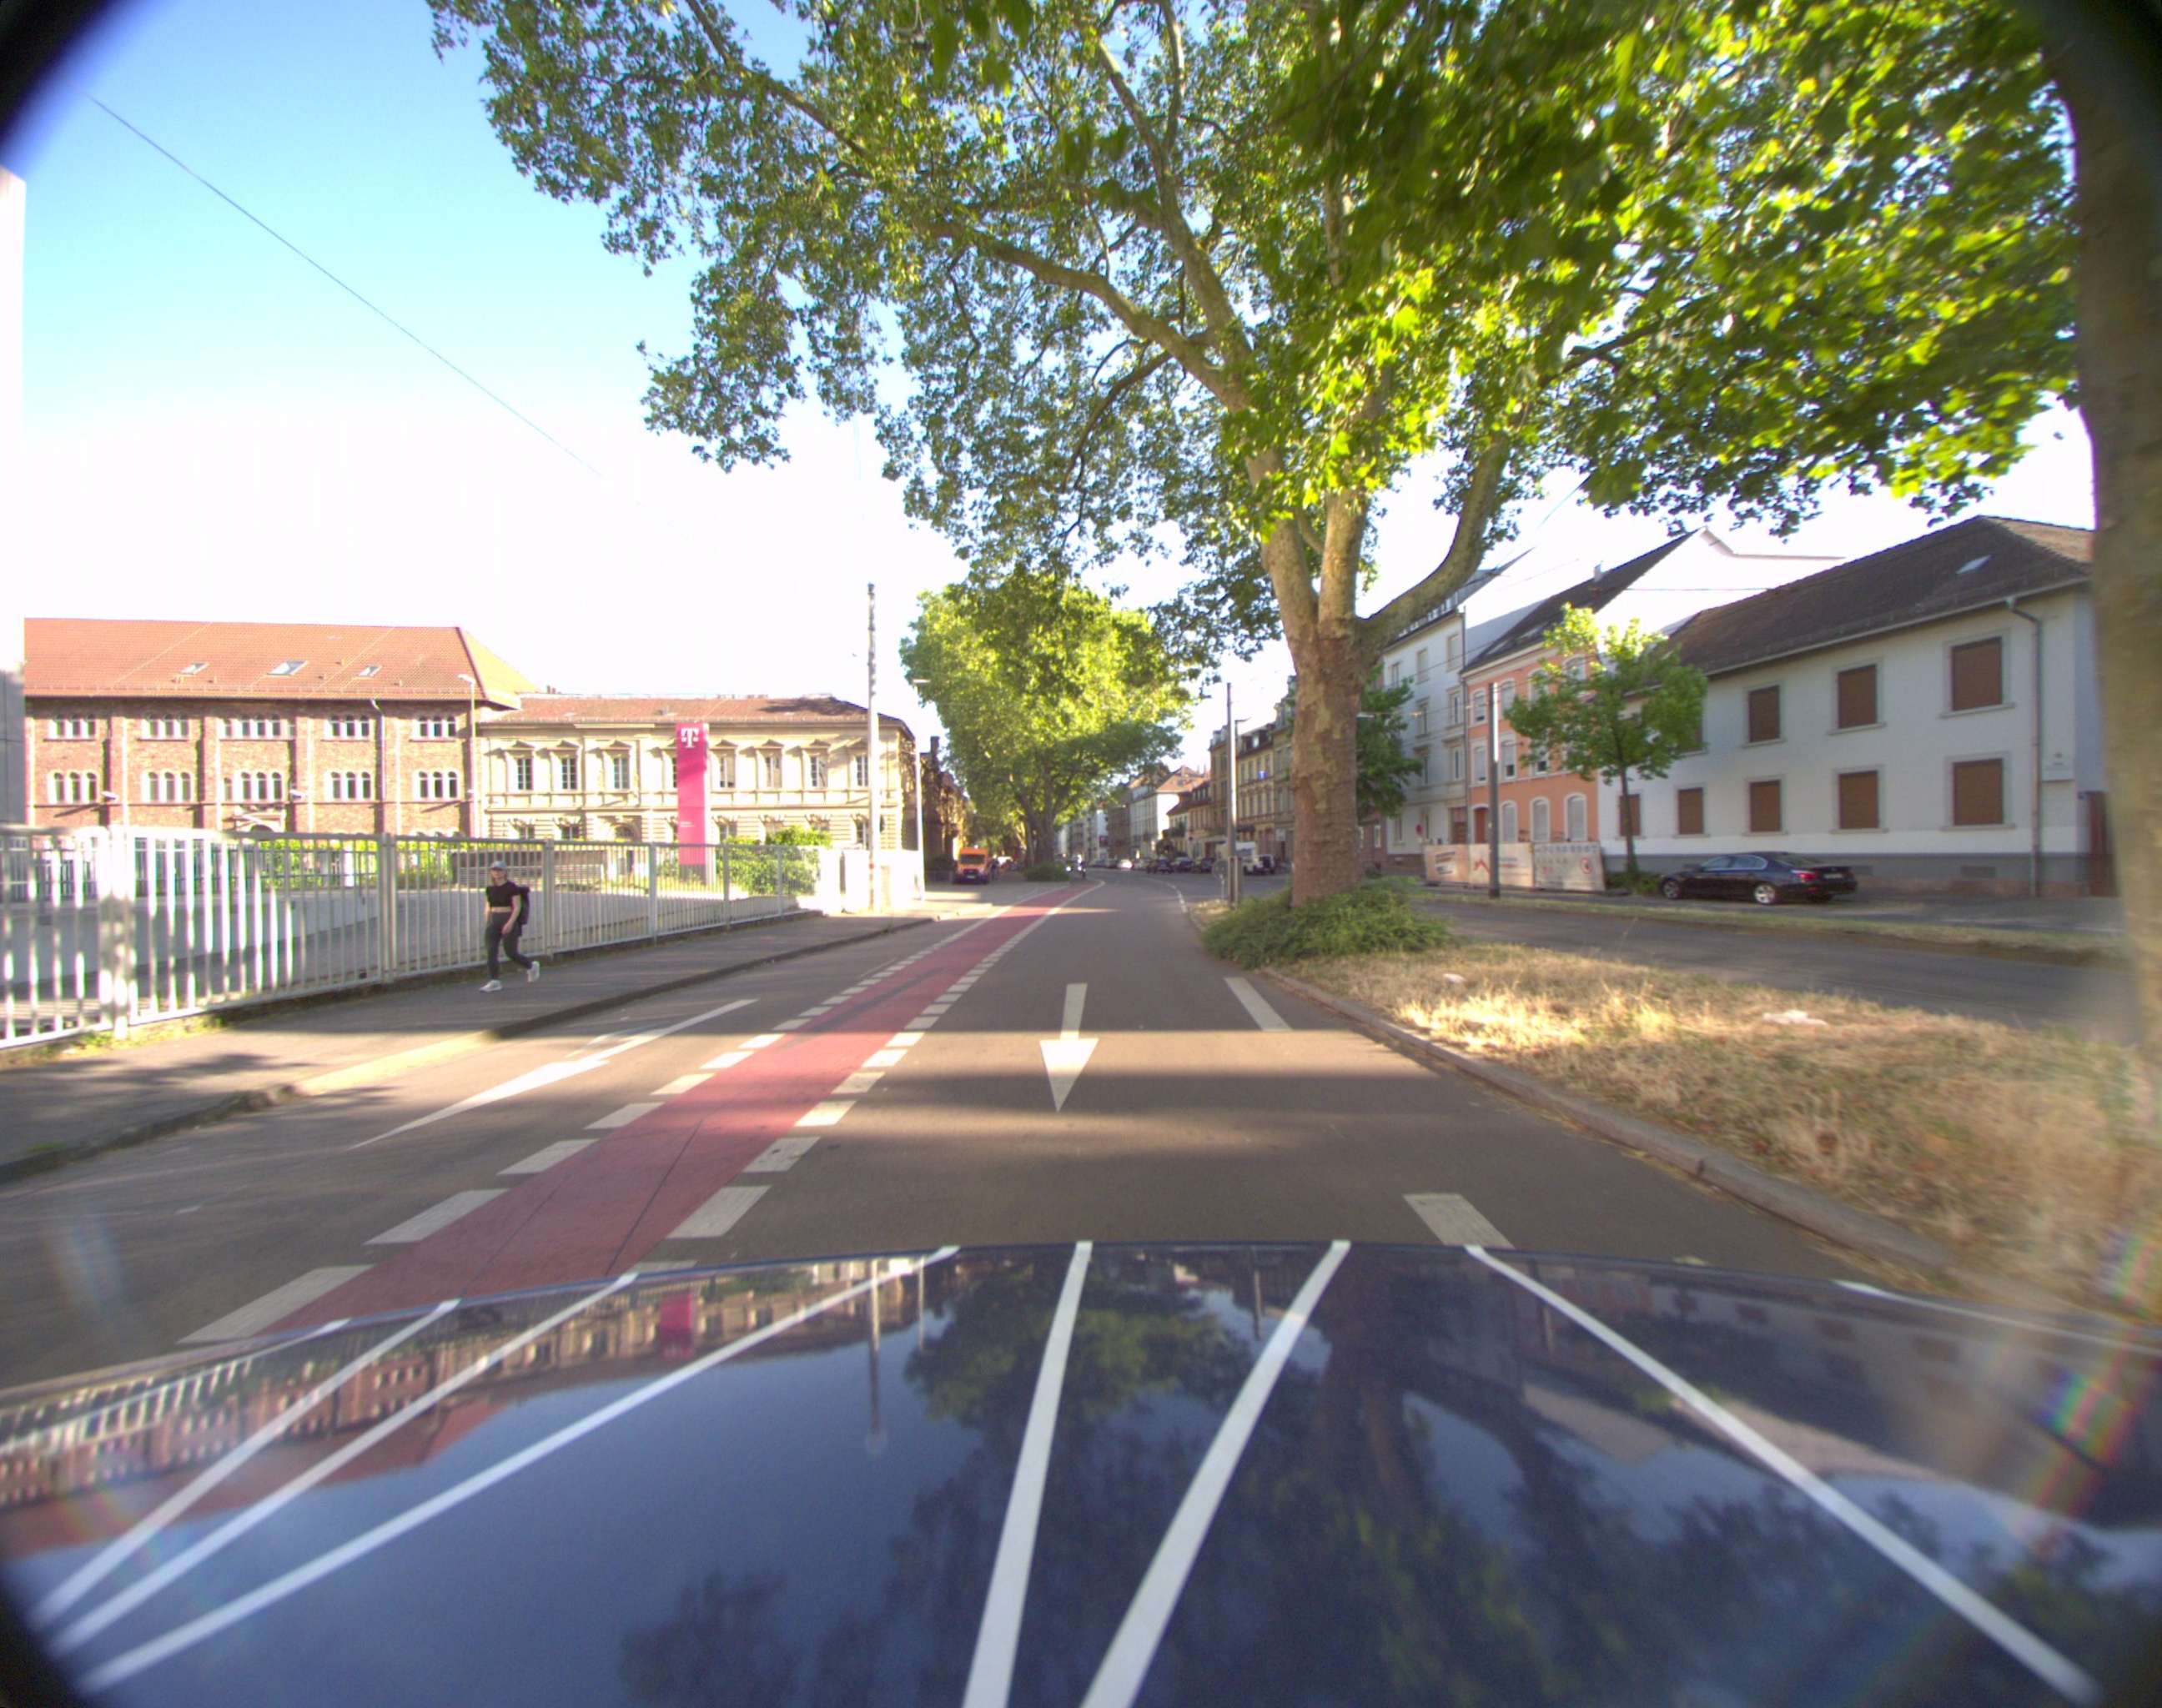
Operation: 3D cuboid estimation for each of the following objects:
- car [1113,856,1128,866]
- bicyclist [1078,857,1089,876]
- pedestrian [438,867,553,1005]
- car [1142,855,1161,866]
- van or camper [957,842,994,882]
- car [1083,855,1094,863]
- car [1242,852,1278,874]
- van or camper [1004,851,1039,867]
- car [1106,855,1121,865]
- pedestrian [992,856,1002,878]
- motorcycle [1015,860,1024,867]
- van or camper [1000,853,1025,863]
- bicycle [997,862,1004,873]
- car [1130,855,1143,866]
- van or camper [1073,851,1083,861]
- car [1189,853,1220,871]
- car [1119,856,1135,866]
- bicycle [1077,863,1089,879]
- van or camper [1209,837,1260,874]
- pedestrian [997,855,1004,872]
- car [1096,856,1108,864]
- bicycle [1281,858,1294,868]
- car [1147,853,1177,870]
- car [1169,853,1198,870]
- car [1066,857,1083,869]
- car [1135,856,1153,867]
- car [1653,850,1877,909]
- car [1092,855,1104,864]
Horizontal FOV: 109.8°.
[{"bbox_3d":[6.616,1.098,128.432,1.799,1.587,4.081,-3,0,-6],"label":"car"},{"bbox_3d":[0.171,0.962,58.650,0.715,1.435,0.953,-1,0,-5],"label":"bicyclist"},{"bbox_3d":[-7.513,1.021,9.792,0.697,1.674,0.931,-1,1,4],"label":"pedestrian"},{"bbox_3d":[9.500,0.863,102.451,1.668,1.446,4.401,-4,0,-7],"label":"car"},{"bbox_3d":[-7.033,0.510,51.236,2.042,2.544,5.770,-1,0,-4],"label":"van or camper"},{"bbox_3d":[1.713,1.076,170.010,1.809,1.534,3.916,-3,0,-7],"label":"car"},{"bbox_3d":[14.739,0.725,62.709,1.636,1.696,3.368,-4,1,-9],"label":"car"},{"bbox_3d":[-10.353,0.857,132.042,5.931,2.484,2.218,-1,3,-8],"label":"van or camper"},{"bbox_3d":[5.725,1.014,133.760,1.799,1.630,4.252,-3,0,-6],"label":"car"},{"bbox_3d":[-6.613,1.000,59.804,0.653,1.726,1.006,-1,0,-11],"label":"pedestrian"},{"bbox_3d":[-8.999,1.410,111.744,1.274,1.048,0.394,-1,0,-43],"label":"motorcycle"},{"bbox_3d":[-17.226,0.891,191.788,6.102,2.417,2.427,-1,0,-6],"label":"van or camper"},{"bbox_3d":[-8.147,1.338,76.707,0.676,1.026,1.899,1,0,-6],"label":"bicycle"},{"bbox_3d":[8.267,1.003,113.218,1.422,1.502,3.324,-3,0,-4],"label":"car"},{"bbox_3d":[-0.812,0.566,189.965,1.946,2.267,4.595,-3,0,-7],"label":"van or camper"},{"bbox_3d":[12.695,0.831,78.397,1.816,1.695,4.440,-4,0,-7],"label":"car"},{"bbox_3d":[7.415,1.116,123.431,1.869,1.423,4.081,-3,0,-6],"label":"car"},{"bbox_3d":[0.173,1.297,58.598,0.715,1.131,2.119,-1,0,-6],"label":"bicycle"},{"bbox_3d":[13.825,0.131,68.932,2.426,2.930,7.247,-4,0,-5],"label":"van or camper"},{"bbox_3d":[-8.148,0.948,76.701,0.671,1.610,1.101,1,0,-5],"label":"pedestrian"},{"bbox_3d":[4.085,1.165,148.761,1.799,1.368,4.081,-3,0,-6],"label":"car"},{"bbox_3d":[18.212,0.791,67.052,0.580,0.919,1.791,-1,0,-4],"label":"bicycle"},{"bbox_3d":[8.138,0.744,76.614,2.000,1.679,4.307,-1,0,-8],"label":"car"},{"bbox_3d":[11.546,0.849,85.899,2.000,1.693,4.747,-4,0,-7],"label":"car"},{"bbox_3d":[-0.888,1.136,97.785,1.741,1.365,3.916,-3,0,-7],"label":"car"},{"bbox_3d":[8.862,1.034,107.838,1.587,1.482,4.467,-3,0,-7],"label":"car"},{"bbox_3d":[19.732,0.670,22.282,2.000,1.505,4.722,-1,0,-7],"label":"car"},{"bbox_3d":[3.484,1.115,154.027,1.799,1.617,4.081,-3,0,-6],"label":"car"}]
